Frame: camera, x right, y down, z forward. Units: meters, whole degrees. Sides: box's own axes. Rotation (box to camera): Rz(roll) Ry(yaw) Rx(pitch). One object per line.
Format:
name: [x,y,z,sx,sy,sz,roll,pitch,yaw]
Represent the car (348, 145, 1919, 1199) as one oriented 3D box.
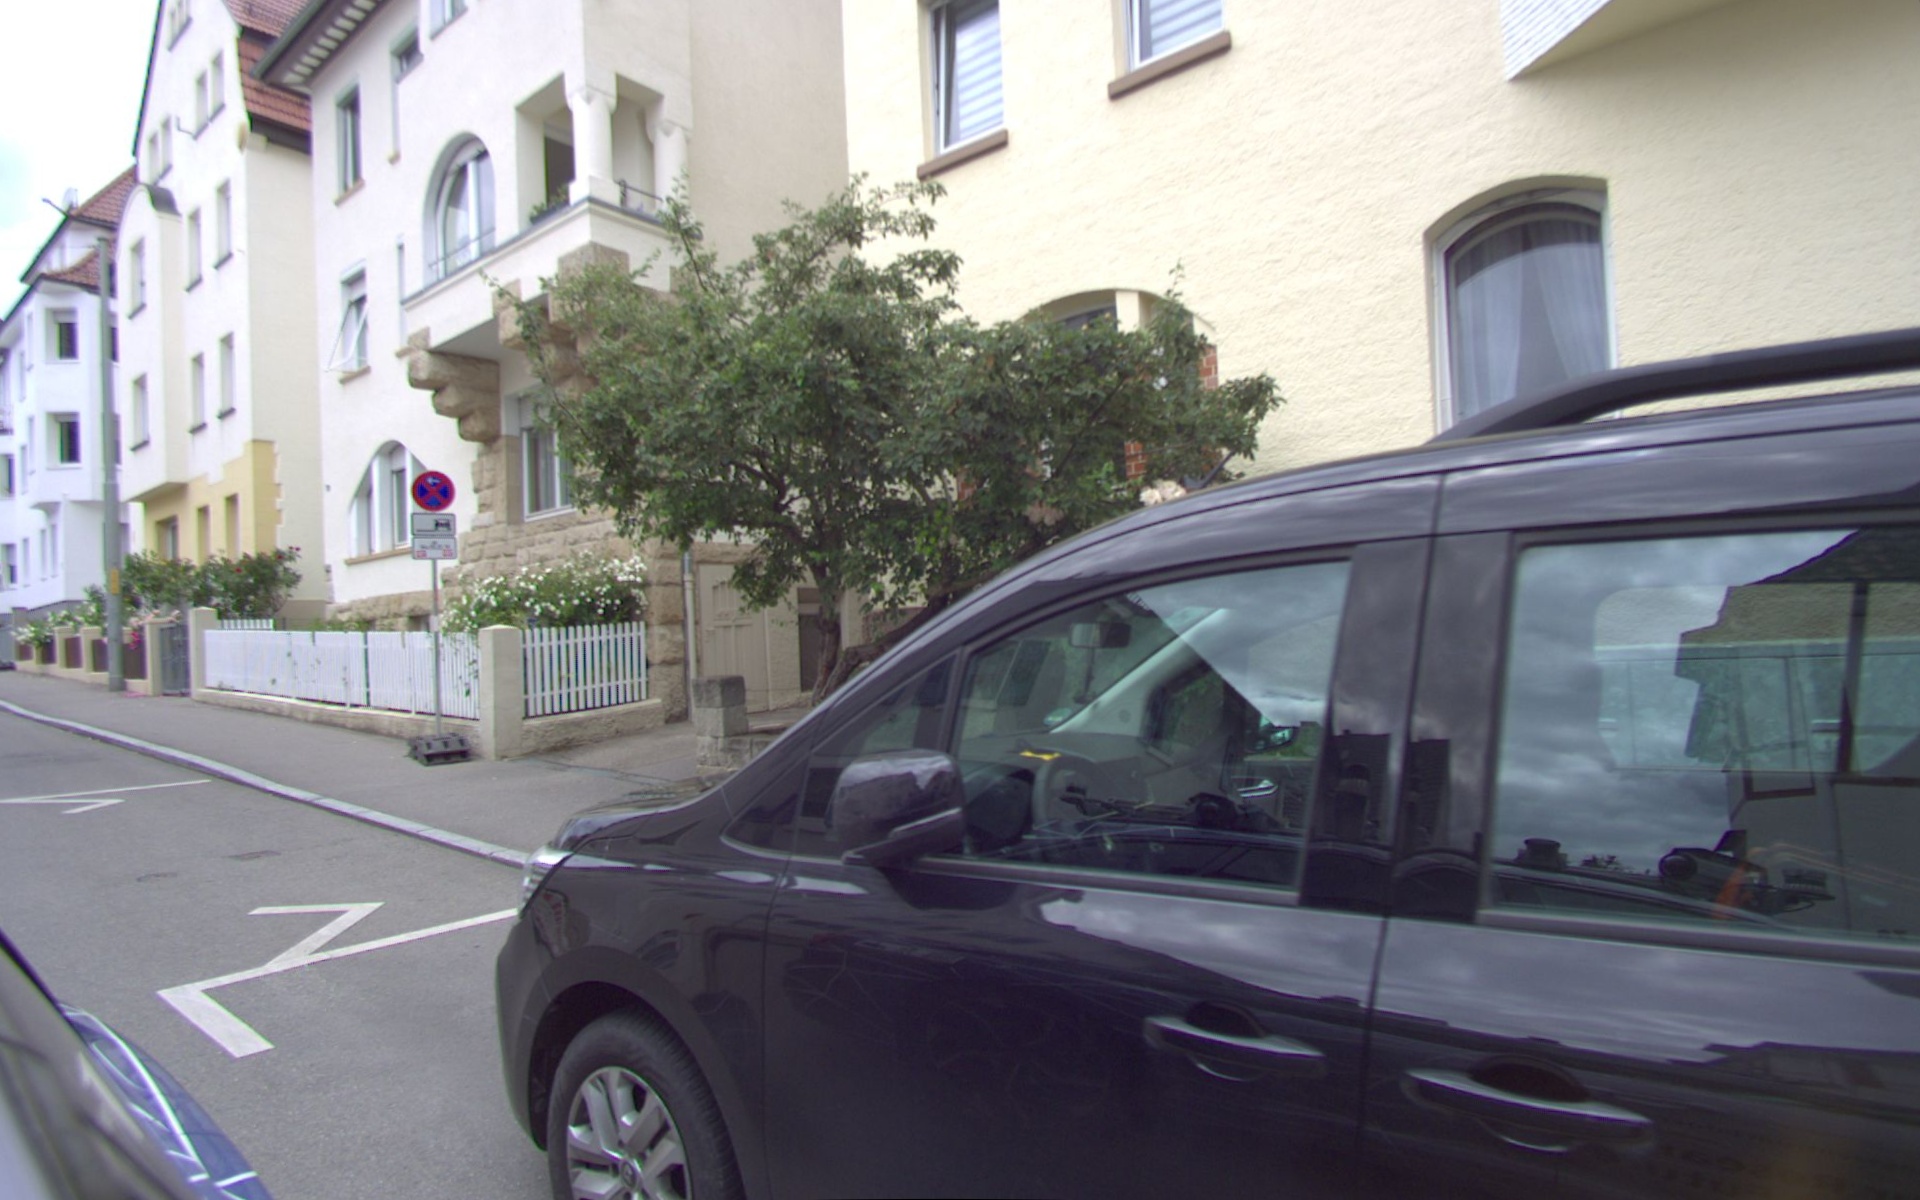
car: [0.807,0.537,2.015,4.534,1.829,1.829,-1,-1,36]
